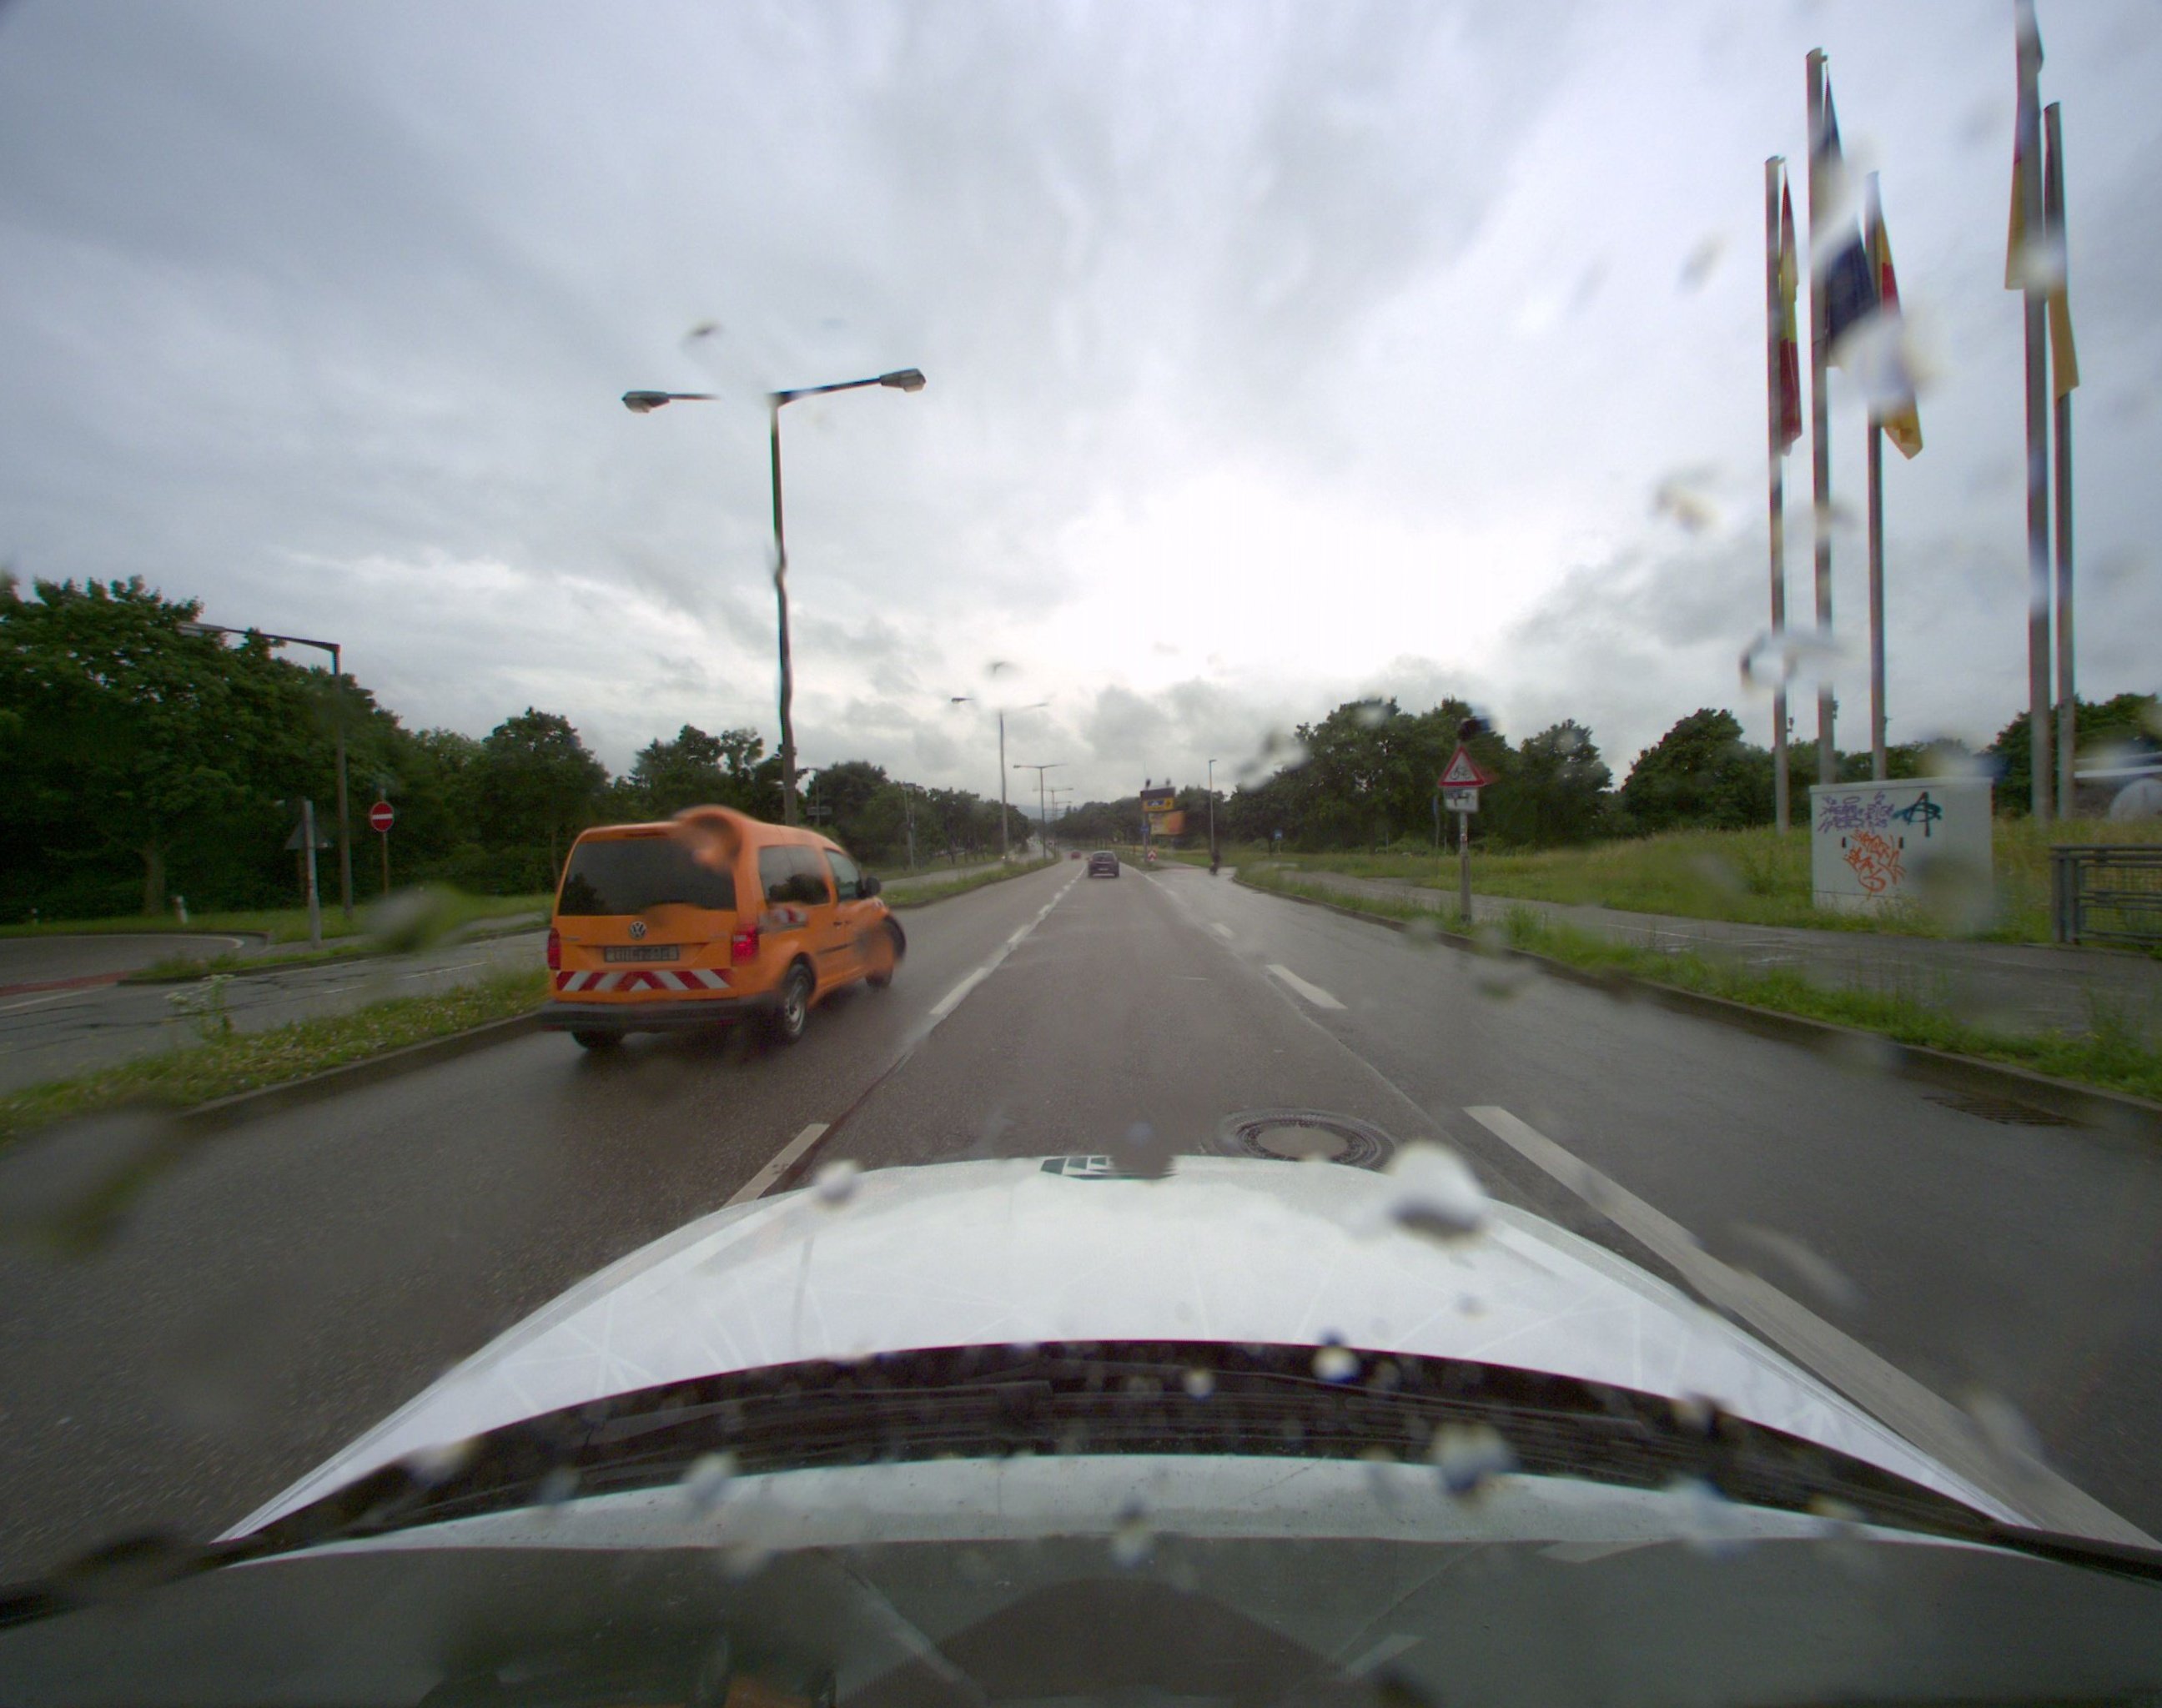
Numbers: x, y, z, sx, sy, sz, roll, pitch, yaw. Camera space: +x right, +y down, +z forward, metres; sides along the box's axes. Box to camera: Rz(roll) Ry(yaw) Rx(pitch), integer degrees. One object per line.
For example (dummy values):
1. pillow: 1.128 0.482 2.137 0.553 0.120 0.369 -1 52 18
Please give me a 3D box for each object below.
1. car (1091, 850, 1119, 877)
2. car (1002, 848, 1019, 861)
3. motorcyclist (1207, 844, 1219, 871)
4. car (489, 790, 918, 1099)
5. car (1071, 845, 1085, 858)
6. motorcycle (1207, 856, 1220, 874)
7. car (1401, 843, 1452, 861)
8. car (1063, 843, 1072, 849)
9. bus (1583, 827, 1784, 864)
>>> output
1. car: 1.283 0.502 44.632 1.458 1.328 3.758 -1 1 0
2. car: -9.600 0.058 111.362 1.701 1.629 4.492 -4 1 0
3. motorcyclist: 8.562 0.234 52.827 0.596 1.690 0.864 -1 1 16
4. car: -2.987 0.593 7.814 1.728 2.019 4.850 -1 0 1
5. car: -0.468 -0.340 123.014 1.987 1.879 4.000 -1 0 0
6. motorcycle: 8.582 0.725 52.853 0.596 1.093 1.740 -1 1 16
7. car: 31.689 -0.163 74.711 3.990 1.618 1.853 -1 0 -12
8. car: -4.350 -2.515 257.258 2.510 2.052 5.287 -2 0 -3
9. bus: 54.198 -0.751 74.005 14.405 2.679 2.781 -2 1 28
